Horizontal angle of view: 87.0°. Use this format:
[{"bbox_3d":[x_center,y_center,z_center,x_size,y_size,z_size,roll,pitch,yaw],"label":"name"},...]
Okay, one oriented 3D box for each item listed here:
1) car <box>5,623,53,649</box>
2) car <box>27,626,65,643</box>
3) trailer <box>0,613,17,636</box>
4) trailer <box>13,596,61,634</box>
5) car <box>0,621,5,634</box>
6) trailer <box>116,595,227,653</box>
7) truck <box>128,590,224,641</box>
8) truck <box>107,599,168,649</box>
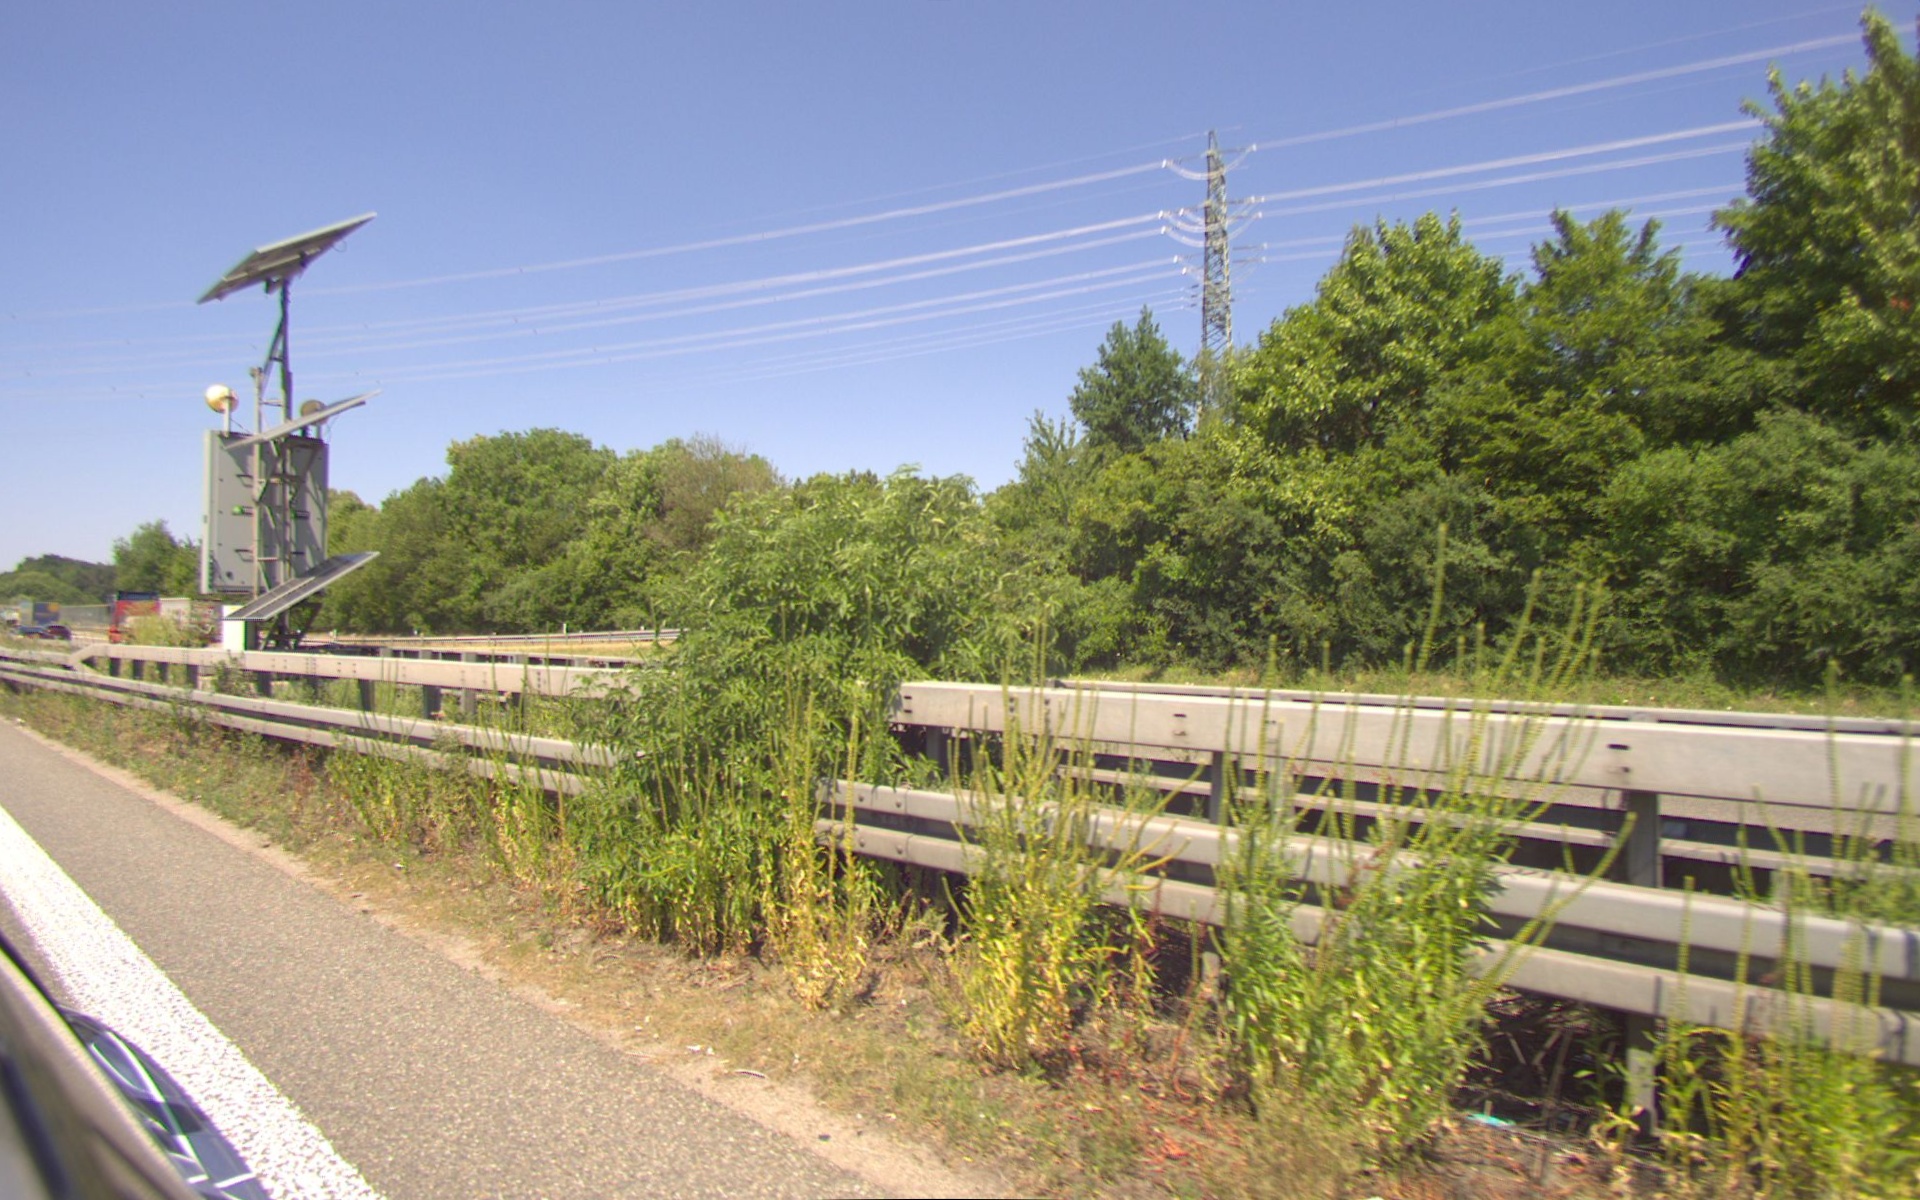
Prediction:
[{"bbox_3d":[-57.476,2.220,62.475,3.998,1.538,1.706,-1,-3,41],"label":"car"},{"bbox_3d":[-74.194,2.818,82.125,4.919,1.344,1.751,-1,-3,41],"label":"car"},{"bbox_3d":[-139.557,3.583,146.964,9.706,3.326,2.883,-1,-2,42],"label":"trailer"},{"bbox_3d":[-111.710,1.804,122.343,13.813,4.374,3.140,-1,-2,43],"label":"trailer"},{"bbox_3d":[-110.996,3.125,116.050,3.881,1.542,1.763,-1,-4,41],"label":"car"},{"bbox_3d":[-53.766,1.635,68.718,16.015,3.586,2.965,-1,-2,41],"label":"trailer"},{"bbox_3d":[-77.692,1.689,100.133,14.503,4.374,2.972,-3,-3,33],"label":"truck"},{"bbox_3d":[-60.975,1.774,75.028,3.116,3.586,2.965,-1,-2,41],"label":"truck"}]
